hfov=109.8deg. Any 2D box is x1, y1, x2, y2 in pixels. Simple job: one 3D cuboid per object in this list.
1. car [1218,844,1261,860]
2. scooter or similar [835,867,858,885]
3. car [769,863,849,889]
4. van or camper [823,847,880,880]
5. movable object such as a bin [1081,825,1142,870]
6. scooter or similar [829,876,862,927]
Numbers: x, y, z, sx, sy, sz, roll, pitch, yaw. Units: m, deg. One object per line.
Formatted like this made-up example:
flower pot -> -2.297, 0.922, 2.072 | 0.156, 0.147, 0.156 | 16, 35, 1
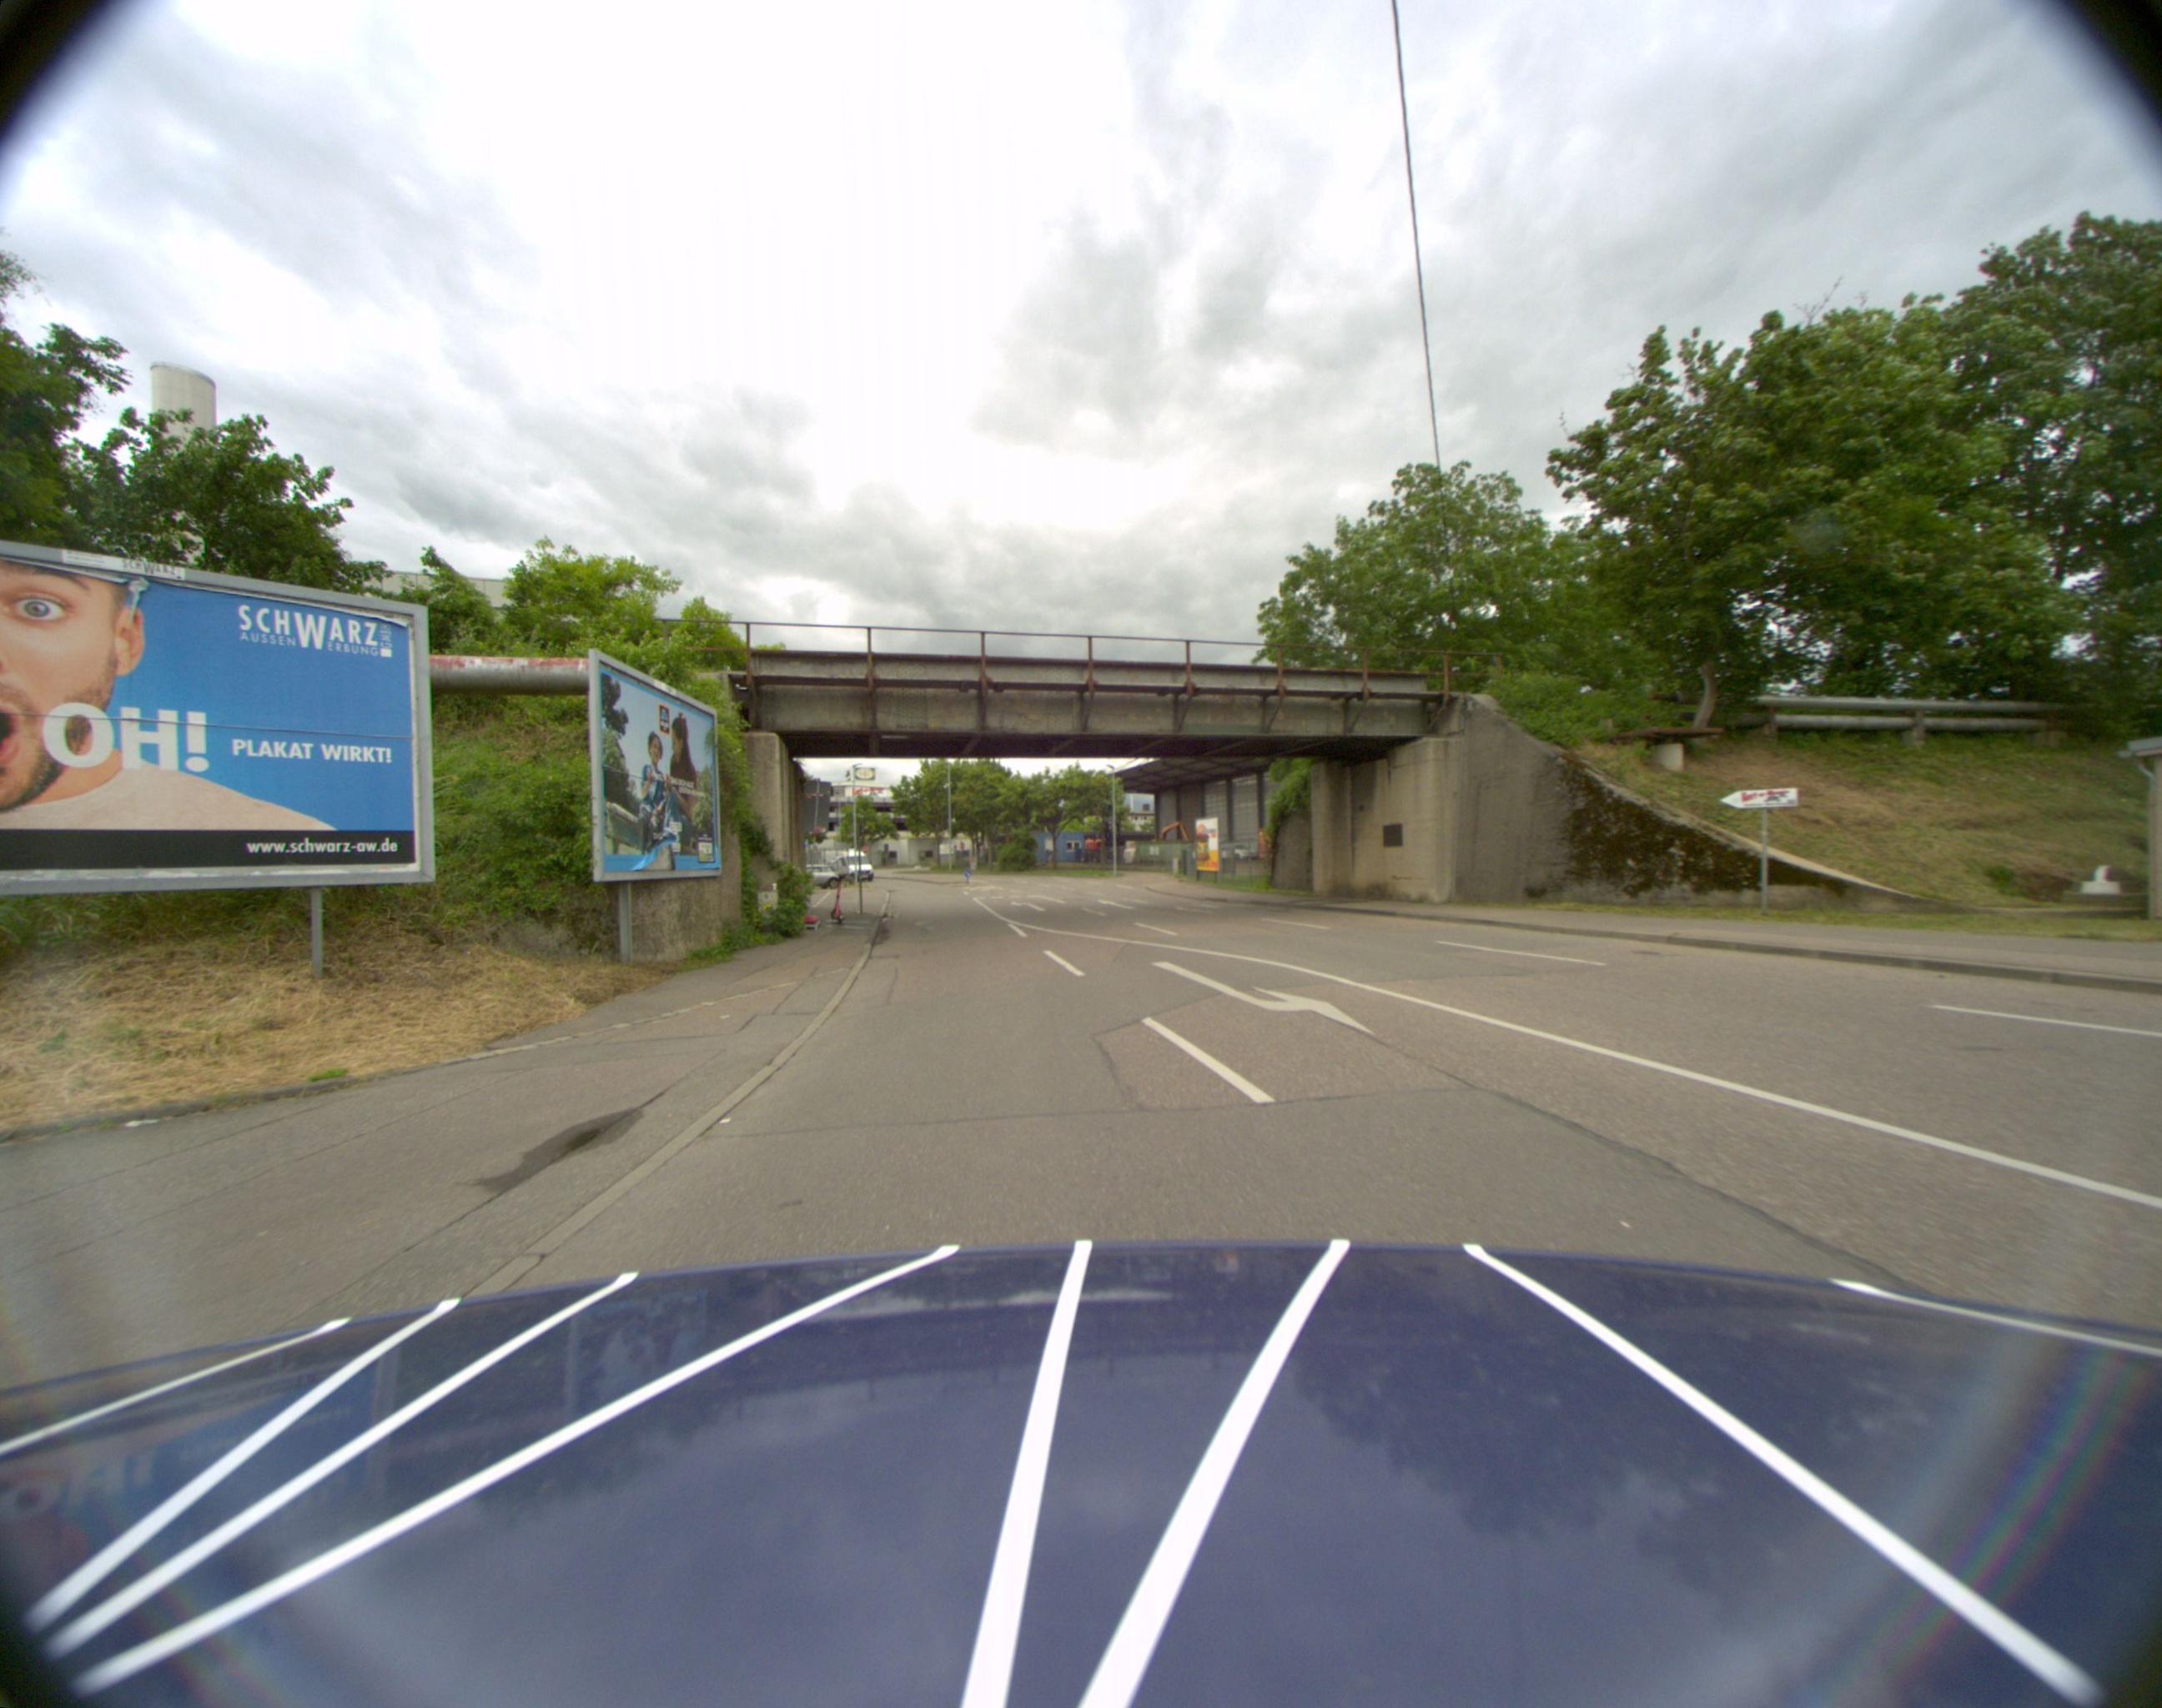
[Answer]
car -> 13.604, -0.165, 65.564 | 1.740, 1.366, 3.993 | -1, 0, -21
scooter or similar -> -15.027, 1.415, 48.701 | 1.420, 1.126, 0.480 | 1, 0, -13
car -> -15.831, 1.272, 44.274 | 4.028, 1.423, 1.781 | 0, -1, -39
van or camper -> -18.542, 0.754, 61.140 | 2.277, 2.542, 6.092 | -2, 1, -38
movable object such as a bin -> 2.748, -0.523, 71.472 | 2.738, 4.066, 6.539 | 0, -1, -28
scooter or similar -> -6.053, 1.201, 19.506 | 0.506, 1.228, 1.666 | 3, -2, -26
